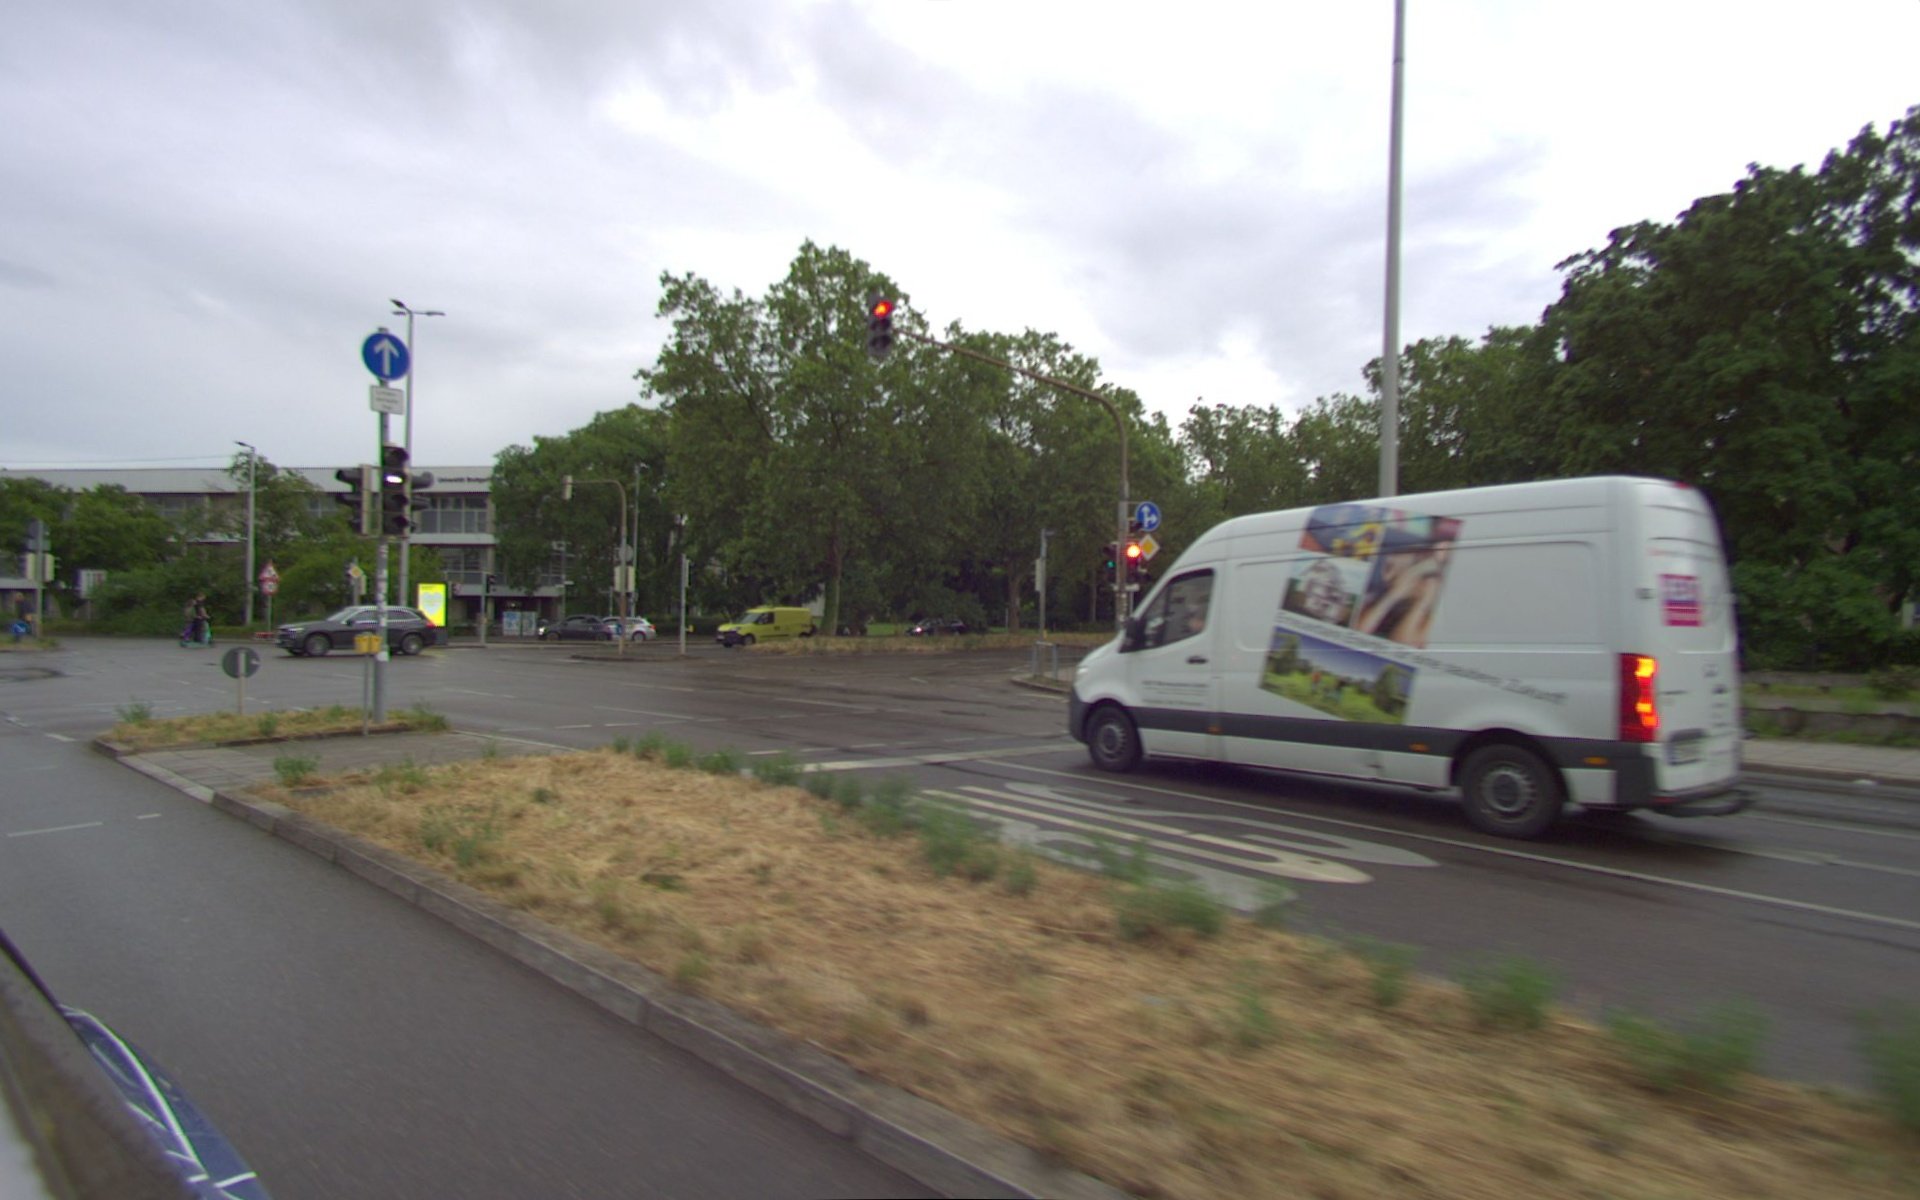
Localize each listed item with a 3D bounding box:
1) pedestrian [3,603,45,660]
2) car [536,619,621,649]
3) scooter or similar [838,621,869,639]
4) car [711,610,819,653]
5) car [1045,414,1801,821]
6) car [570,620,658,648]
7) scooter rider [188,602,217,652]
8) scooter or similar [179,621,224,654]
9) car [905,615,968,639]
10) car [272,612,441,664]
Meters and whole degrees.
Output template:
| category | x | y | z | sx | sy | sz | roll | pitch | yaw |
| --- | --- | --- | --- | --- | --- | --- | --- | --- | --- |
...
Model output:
| category | x | y | z | sx | sy | sz | roll | pitch | yaw |
| --- | --- | --- | --- | --- | --- | --- | --- | --- | --- |
| pedestrian | -31.977 | 1.079 | 34.576 | 1.024 | 1.906 | 0.821 | -2 | -1 | 31 |
| car | -19.184 | 1.688 | 50.996 | 3.931 | 1.461 | 1.874 | 1 | -1 | -20 |
| scooter or similar | -6.968 | 1.948 | 66.330 | 1.858 | 1.109 | 0.560 | 2 | 1 | -26 |
| car | -8.916 | 1.441 | 46.518 | 1.886 | 1.891 | 4.672 | -3 | -3 | 44 |
| car | 3.583 | 0.174 | 9.277 | 2.032 | 2.513 | 6.051 | 3 | -2 | -37 |
| car | -18.715 | 1.845 | 54.753 | 4.327 | 1.461 | 1.874 | 1 | -2 | -25 |
| scooter rider | -29.483 | 1.051 | 39.414 | 0.721 | 1.897 | 0.627 | -1 | -1 | 23 |
| scooter or similar | -29.492 | 1.458 | 39.366 | 0.589 | 1.248 | 1.304 | -1 | -1 | 22 |
| car | -1.486 | 1.682 | 64.110 | 3.942 | 1.461 | 1.868 | 0 | -1 | -1 |
| car | -19.990 | 1.220 | 33.678 | 1.834 | 1.620 | 4.515 | -2 | -2 | 41 |
